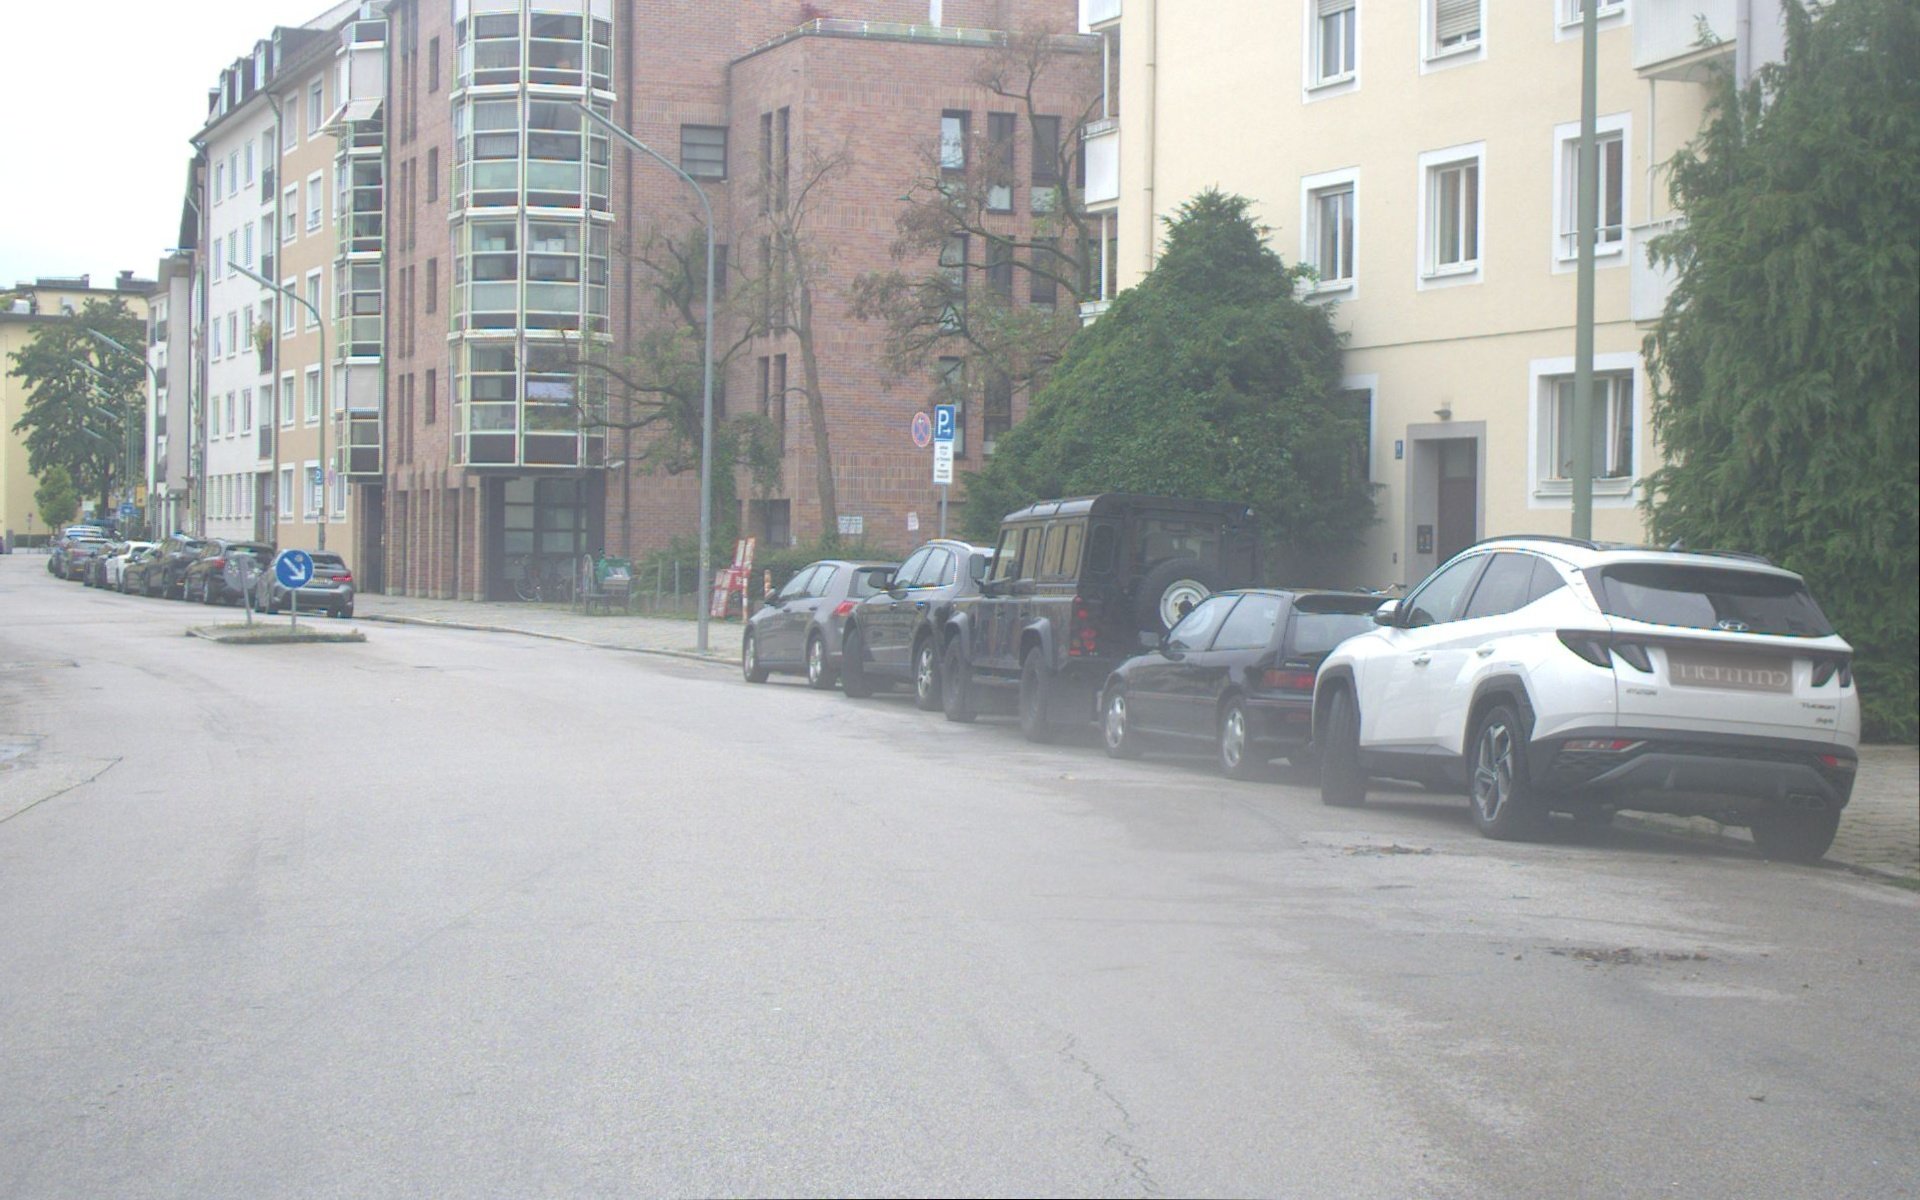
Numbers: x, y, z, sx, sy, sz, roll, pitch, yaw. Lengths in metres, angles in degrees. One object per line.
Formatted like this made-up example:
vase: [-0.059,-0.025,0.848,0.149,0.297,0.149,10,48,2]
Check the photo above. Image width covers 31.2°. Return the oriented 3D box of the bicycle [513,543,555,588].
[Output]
bicycle: [-10.226,-0.825,82.471,0.486,1.056,1.996,2,0,-22]

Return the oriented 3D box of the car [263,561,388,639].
car: [-13.675,-0.028,73.906,1.924,1.507,4.393,2,1,-19]

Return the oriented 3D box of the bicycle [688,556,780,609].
bicycle: [-4.455,-0.341,67.810,1.700,0.962,0.546,2,1,-19]

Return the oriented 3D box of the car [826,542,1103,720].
car: [-0.033,0.251,33.511,1.658,1.560,4.516,2,0,-13]

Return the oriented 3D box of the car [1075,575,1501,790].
car: [2.220,0.536,24.294,1.658,1.344,3.805,2,0,-16]

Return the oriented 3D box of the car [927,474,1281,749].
car: [1.106,0.019,28.952,1.747,2.074,4.517,2,2,-13]

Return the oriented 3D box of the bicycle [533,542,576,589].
bicycle: [-9.757,-0.835,82.666,0.486,1.056,1.996,2,1,-22]

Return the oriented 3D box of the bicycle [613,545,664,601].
bicycle: [-6.898,-0.576,73.830,0.420,1.169,1.359,3,2,25]

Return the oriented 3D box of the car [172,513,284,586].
car: [-17.864,-1.250,83.725,1.829,1.596,4.267,2,2,-23]

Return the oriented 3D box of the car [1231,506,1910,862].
car: [3.241,0.370,19.379,2.025,1.672,4.614,2,2,-13]

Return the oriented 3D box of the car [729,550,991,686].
car: [-1.188,0.184,38.636,1.754,1.391,4.046,2,0,-19]

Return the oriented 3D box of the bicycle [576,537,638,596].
bicycle: [-7.686,-0.726,74.763,0.534,1.244,2.414,2,-1,-25]

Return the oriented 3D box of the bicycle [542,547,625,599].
bicycle: [-8.882,-0.635,81.097,1.847,1.143,0.488,2,1,-13]

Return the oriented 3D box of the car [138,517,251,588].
car: [-19.700,-1.237,88.321,1.964,1.596,4.673,2,2,-23]
